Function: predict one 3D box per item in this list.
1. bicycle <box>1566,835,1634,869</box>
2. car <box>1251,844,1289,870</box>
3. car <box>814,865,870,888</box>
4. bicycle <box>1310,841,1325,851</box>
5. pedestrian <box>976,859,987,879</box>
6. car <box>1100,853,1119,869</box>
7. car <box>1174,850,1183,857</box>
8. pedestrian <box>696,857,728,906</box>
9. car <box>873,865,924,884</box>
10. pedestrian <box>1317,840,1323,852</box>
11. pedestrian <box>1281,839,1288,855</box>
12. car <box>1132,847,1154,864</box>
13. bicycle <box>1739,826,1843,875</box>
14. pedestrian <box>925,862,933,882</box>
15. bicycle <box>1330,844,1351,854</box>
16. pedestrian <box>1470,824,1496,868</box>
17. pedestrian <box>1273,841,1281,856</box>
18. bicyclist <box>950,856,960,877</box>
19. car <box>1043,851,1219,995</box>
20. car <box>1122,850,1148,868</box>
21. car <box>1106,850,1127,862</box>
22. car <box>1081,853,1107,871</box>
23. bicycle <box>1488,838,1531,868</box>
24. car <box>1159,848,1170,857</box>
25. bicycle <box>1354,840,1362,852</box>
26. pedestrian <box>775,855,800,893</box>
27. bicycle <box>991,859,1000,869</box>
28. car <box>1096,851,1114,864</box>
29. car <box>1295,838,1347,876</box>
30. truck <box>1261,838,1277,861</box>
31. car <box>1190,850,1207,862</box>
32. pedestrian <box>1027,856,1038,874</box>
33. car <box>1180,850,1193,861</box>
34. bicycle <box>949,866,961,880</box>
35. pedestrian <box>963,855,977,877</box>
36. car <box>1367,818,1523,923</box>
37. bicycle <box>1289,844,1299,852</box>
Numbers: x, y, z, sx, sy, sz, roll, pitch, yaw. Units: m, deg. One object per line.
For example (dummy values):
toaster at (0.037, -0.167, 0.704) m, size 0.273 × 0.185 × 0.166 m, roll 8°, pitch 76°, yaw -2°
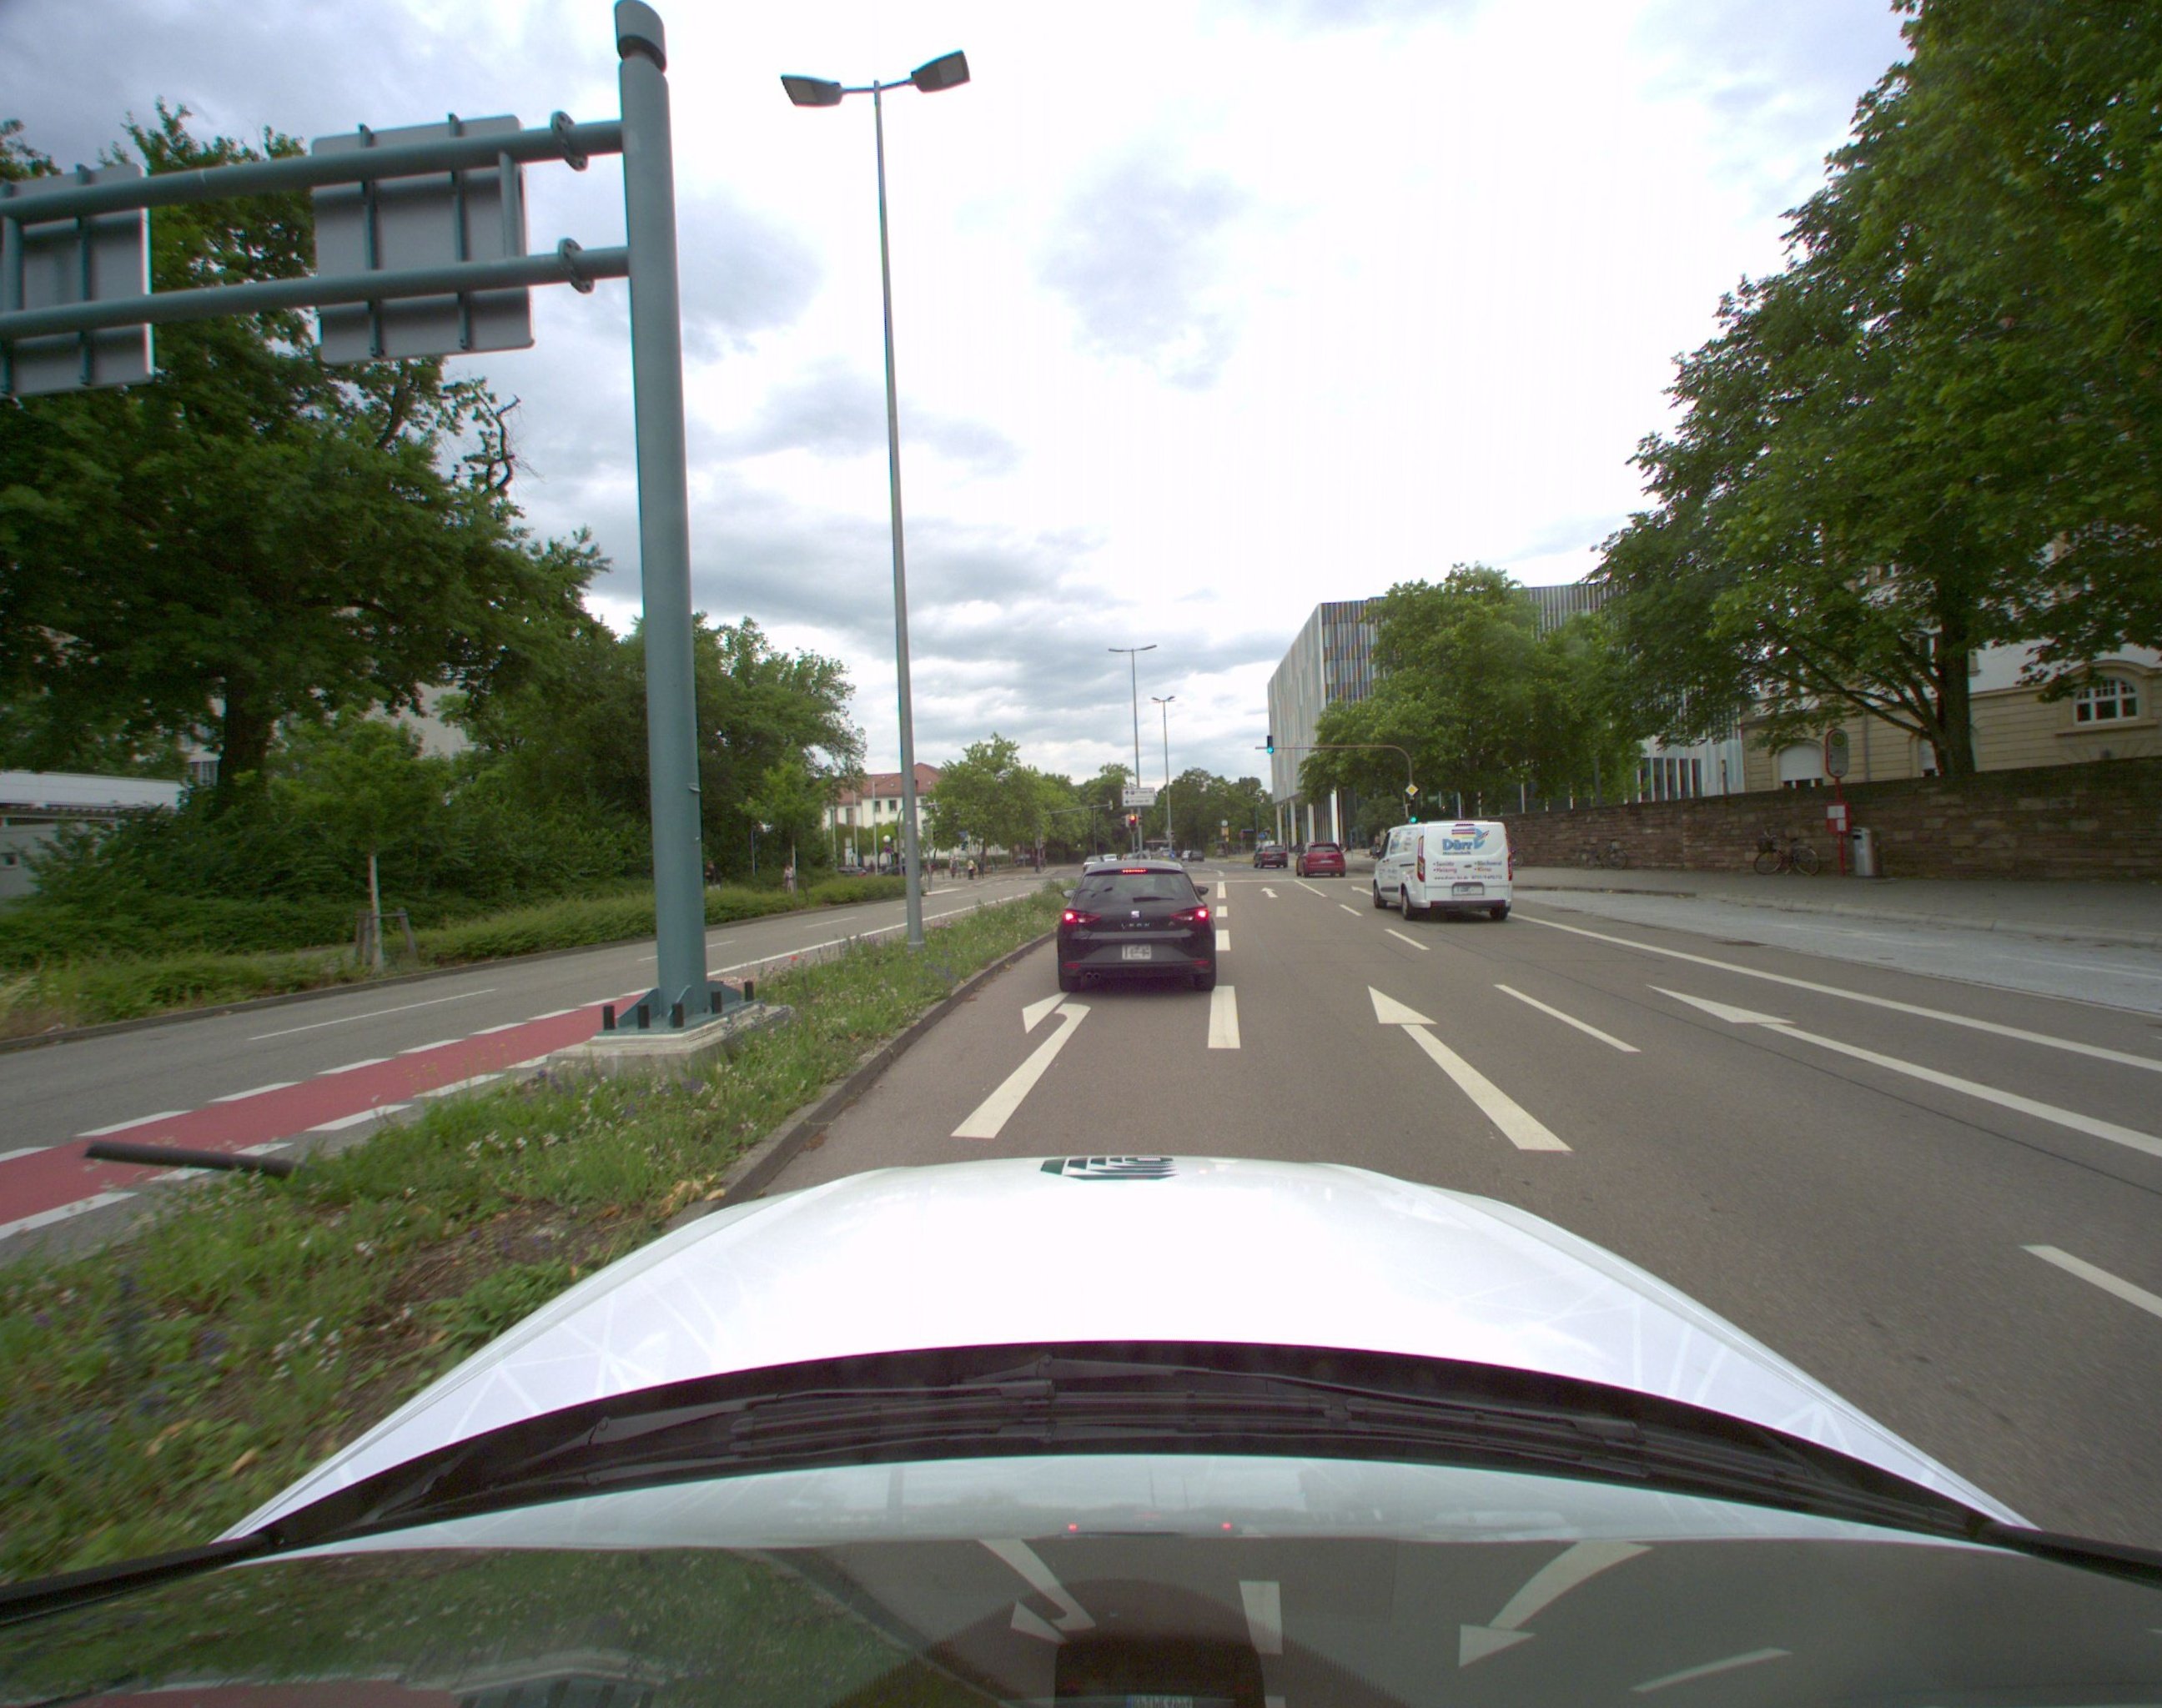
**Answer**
bicycle at (18.043, -0.053, 28.384) m, size 0.938 × 1.073 × 1.966 m, roll -4°, pitch 0°, yaw -5°
car at (13.566, 0.216, 58.652) m, size 1.907 × 1.664 × 4.117 m, roll -4°, pitch 0°, yaw 2°
car at (-19.192, 1.779, 65.569) m, size 4.048 × 1.452 × 1.619 m, roll -3°, pitch 6°, yaw -9°
bicycle at (29.634, -1.017, 102.021) m, size 1.781 × 1.211 × 0.565 m, roll -4°, pitch 0°, yaw -25°
pedestrian at (-8.106, 1.209, 66.318) m, size 0.789 × 1.558 × 0.696 m, roll -2°, pitch -3°, yaw -11°
car at (2.950, 0.688, 83.846) m, size 1.697 × 1.431 × 4.233 m, roll -4°, pitch 0°, yaw 5°
car at (18.815, -0.164, 156.883) m, size 1.497 × 1.193 × 3.168 m, roll -4°, pitch 0°, yaw 6°
pedestrian at (-13.581, 1.003, 29.964) m, size 0.616 × 1.729 × 0.820 m, roll -4°, pitch 0°, yaw 9°
car at (-14.797, 1.647, 66.233) m, size 3.640 × 1.223 × 1.566 m, roll -2°, pitch 7°, yaw 3°
pedestrian at (27.374, -0.924, 93.239) m, size 0.468 × 1.361 × 0.448 m, roll -4°, pitch 0°, yaw 19°
pedestrian at (22.491, -0.774, 90.068) m, size 0.683 × 1.781 × 0.679 m, roll -2°, pitch 0°, yaw 9°
car at (6.975, 0.167, 91.373) m, size 1.909 × 1.664 × 4.410 m, roll -4°, pitch -1°, yaw 10°
bicycle at (18.284, -0.082, 21.040) m, size 0.847 × 1.127 × 1.919 m, roll -4°, pitch 0°, yaw -5°
pedestrian at (-12.306, 1.469, 65.888) m, size 0.571 × 1.526 × 0.844 m, roll -2°, pitch -4°, yaw -14°
bicycle at (25.733, -0.469, 80.778) m, size 1.887 × 0.898 × 0.694 m, roll -4°, pitch 0°, yaw -12°
pedestrian at (17.021, -0.339, 34.503) m, size 0.627 × 1.821 × 1.035 m, roll -4°, pitch 0°, yaw 9°
pedestrian at (21.662, -0.628, 90.019) m, size 0.683 × 1.639 × 0.634 m, roll -1°, pitch 1°, yaw 9°
bicyclist at (-10.444, 1.033, 67.429) m, size 0.668 × 1.635 × 0.955 m, roll -1°, pitch -1°, yaw -20°
car at (0.787, 0.695, 10.064) m, size 1.743 × 1.432 × 3.778 m, roll -1°, pitch 0°, yaw 9°
car at (4.905, 0.452, 73.233) m, size 1.753 × 1.460 × 4.804 m, roll -5°, pitch -1°, yaw 9°
car at (5.504, 0.337, 125.786) m, size 1.743 × 1.587 × 4.022 m, roll -4°, pitch 0°, yaw 22°
car at (1.120, 0.661, 70.603) m, size 1.598 × 1.381 × 3.819 m, roll -4°, pitch 0°, yaw 10°
bicycle at (17.967, -0.049, 34.217) m, size 0.799 × 1.174 × 1.957 m, roll -5°, pitch 0°, yaw 5°
car at (14.851, -0.287, 144.834) m, size 1.688 × 1.503 × 4.013 m, roll -4°, pitch 0°, yaw 3°
bicycle at (30.063, -0.865, 88.406) m, size 0.521 × 1.253 × 1.676 m, roll -4°, pitch 0°, yaw 28°
pedestrian at (-13.002, 0.889, 36.082) m, size 0.696 × 1.636 × 0.673 m, roll -4°, pitch 0°, yaw 9°
bicycle at (-9.385, 1.109, 89.836) m, size 0.605 × 1.060 × 2.046 m, roll -4°, pitch 0°, yaw 3°
car at (3.404, 0.492, 115.467) m, size 1.895 × 1.716 × 4.011 m, roll -4°, pitch 0°, yaw 9°
car at (10.976, 0.114, 37.429) m, size 1.936 × 1.624 × 3.761 m, roll -1°, pitch 1°, yaw 11°
truck at (19.584, -0.488, 84.874) m, size 1.310 × 2.243 × 3.410 m, roll -4°, pitch 0°, yaw 9°
car at (14.786, 0.220, 102.772) m, size 1.889 × 1.354 × 3.889 m, roll -4°, pitch 0°, yaw 6°
pedestrian at (-4.444, 0.969, 75.041) m, size 0.871 × 1.586 × 0.544 m, roll -4°, pitch 0°, yaw 2°
car at (15.456, 0.225, 119.439) m, size 1.607 × 1.354 × 4.007 m, roll -4°, pitch 0°, yaw 6°
bicycle at (-10.418, 1.561, 67.350) m, size 0.668 × 1.062 × 1.608 m, roll -1°, pitch -1°, yaw -20°
pedestrian at (-8.960, 0.984, 65.796) m, size 0.842 × 1.740 × 0.825 m, roll -2°, pitch -5°, yaw -19°
car at (7.655, 0.284, 17.603) m, size 1.955 × 1.972 × 4.354 m, roll -1°, pitch 1°, yaw 8°
bicycle at (30.432, -0.858, 116.219) m, size 1.376 × 0.941 × 0.490 m, roll -3°, pitch 0°, yaw 16°
